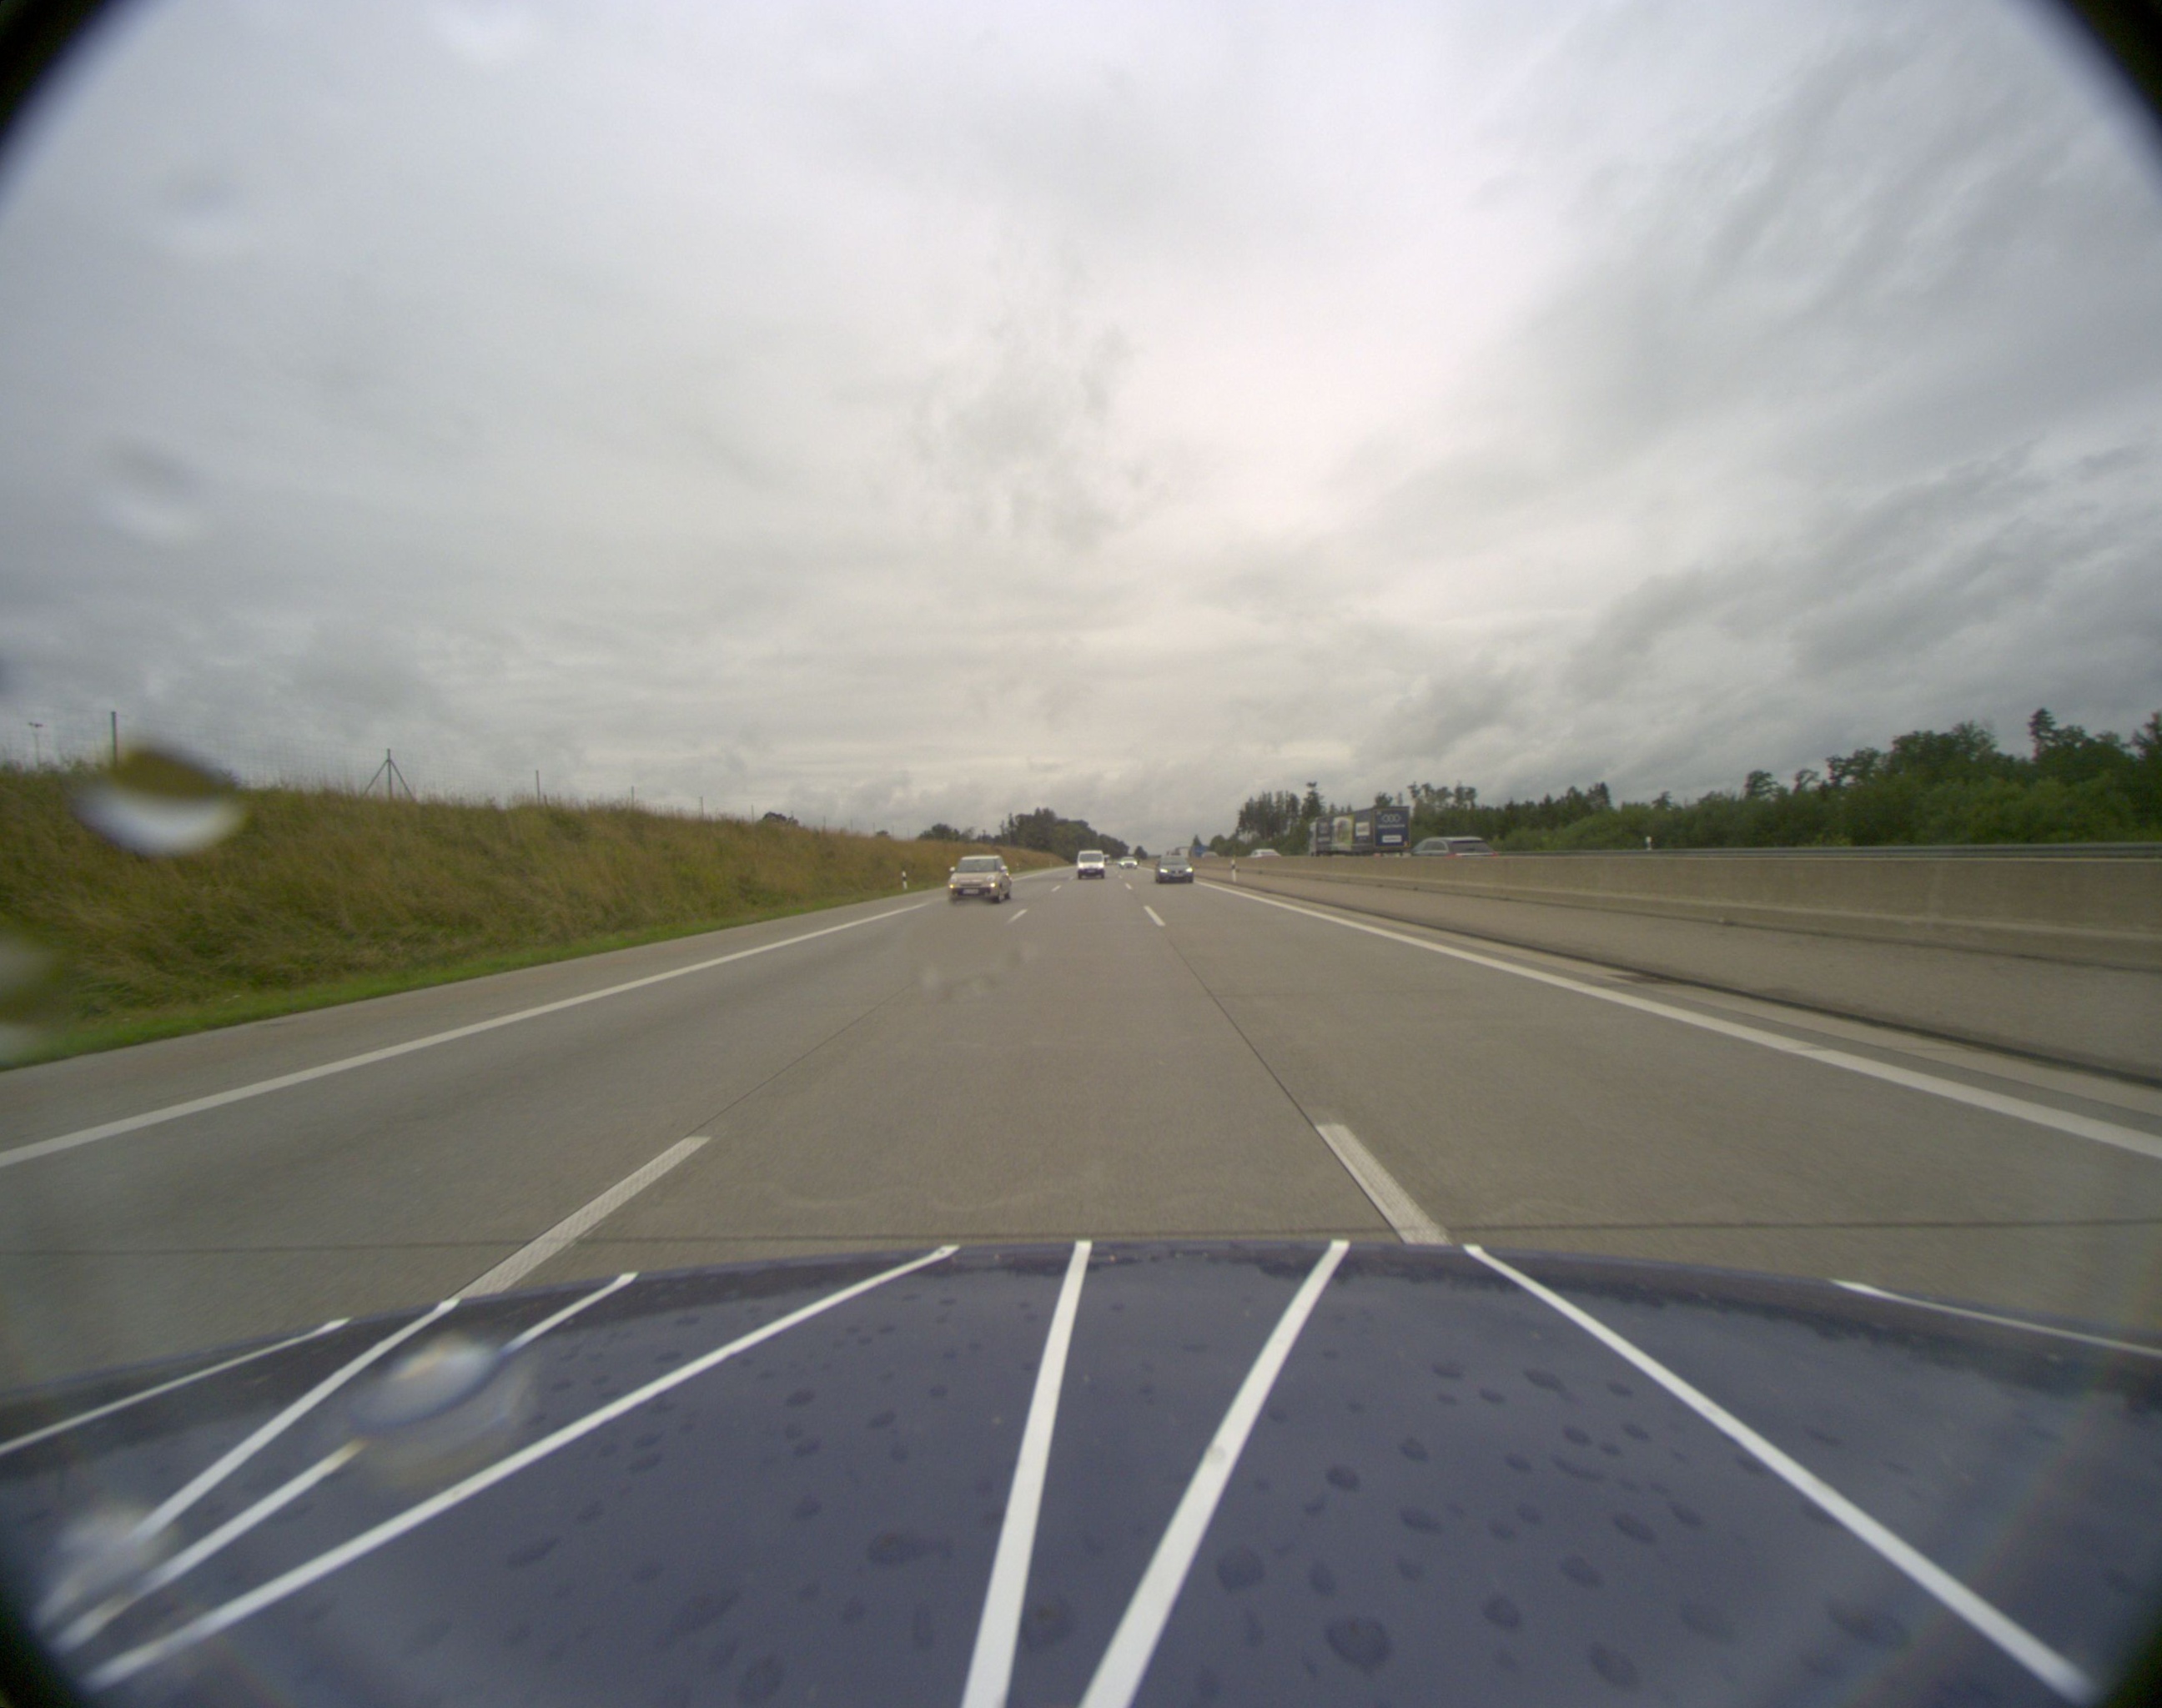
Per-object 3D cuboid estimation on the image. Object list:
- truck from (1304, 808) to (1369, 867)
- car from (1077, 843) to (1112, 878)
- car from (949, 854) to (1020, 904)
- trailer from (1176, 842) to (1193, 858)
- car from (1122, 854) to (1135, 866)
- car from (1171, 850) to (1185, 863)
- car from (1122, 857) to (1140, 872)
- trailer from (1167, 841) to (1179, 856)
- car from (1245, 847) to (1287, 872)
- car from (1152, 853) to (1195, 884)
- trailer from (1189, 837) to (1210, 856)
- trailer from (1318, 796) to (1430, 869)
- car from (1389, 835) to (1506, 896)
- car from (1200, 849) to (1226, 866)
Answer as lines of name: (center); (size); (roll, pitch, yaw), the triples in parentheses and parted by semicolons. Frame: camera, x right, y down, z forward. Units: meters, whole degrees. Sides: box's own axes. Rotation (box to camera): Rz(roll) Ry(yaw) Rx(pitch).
truck: (21.787, -1.330, 65.215); (3.596, 4.790, 5.869); (-2, 0, 1)
car: (0.946, 0.426, 49.515); (2.042, 2.111, 6.069); (-2, 0, 3)
car: (-3.362, 0.841, 27.264); (1.789, 1.595, 4.571); (-2, 0, 2)
trailer: (27.384, -0.976, 201.960); (3.491, 4.176, 12.932); (-2, 0, 3)
car: (7.075, 0.883, 114.134); (1.885, 1.669, 4.320); (-2, 0, 3)
car: (16.622, 0.509, 130.221); (1.998, 2.134, 4.864); (-2, 0, 2)
car: (6.145, 1.269, 93.315); (2.030, 1.669, 4.320); (-2, 0, 5)
trailer: (30.236, -1.659, 249.096); (2.922, 4.598, 13.640); (-2, 0, 3)
car: (13.235, 0.414, 54.537); (1.998, 1.652, 4.527); (-2, 0, 1)
car: (4.822, 0.728, 40.187); (1.789, 1.471, 4.571); (-2, 0, 2)
trailer: (25.195, -1.509, 162.179); (2.856, 3.814, 12.402); (-2, 0, 3)
trailer: (21.547, -1.374, 57.095); (3.607, 4.771, 12.910); (-2, 0, 2)
car: (11.898, 0.358, 25.022); (1.748, 1.755, 4.429); (-2, 0, 1)
car: (13.889, 0.386, 80.235); (1.998, 1.728, 4.527); (-2, 0, 1)
